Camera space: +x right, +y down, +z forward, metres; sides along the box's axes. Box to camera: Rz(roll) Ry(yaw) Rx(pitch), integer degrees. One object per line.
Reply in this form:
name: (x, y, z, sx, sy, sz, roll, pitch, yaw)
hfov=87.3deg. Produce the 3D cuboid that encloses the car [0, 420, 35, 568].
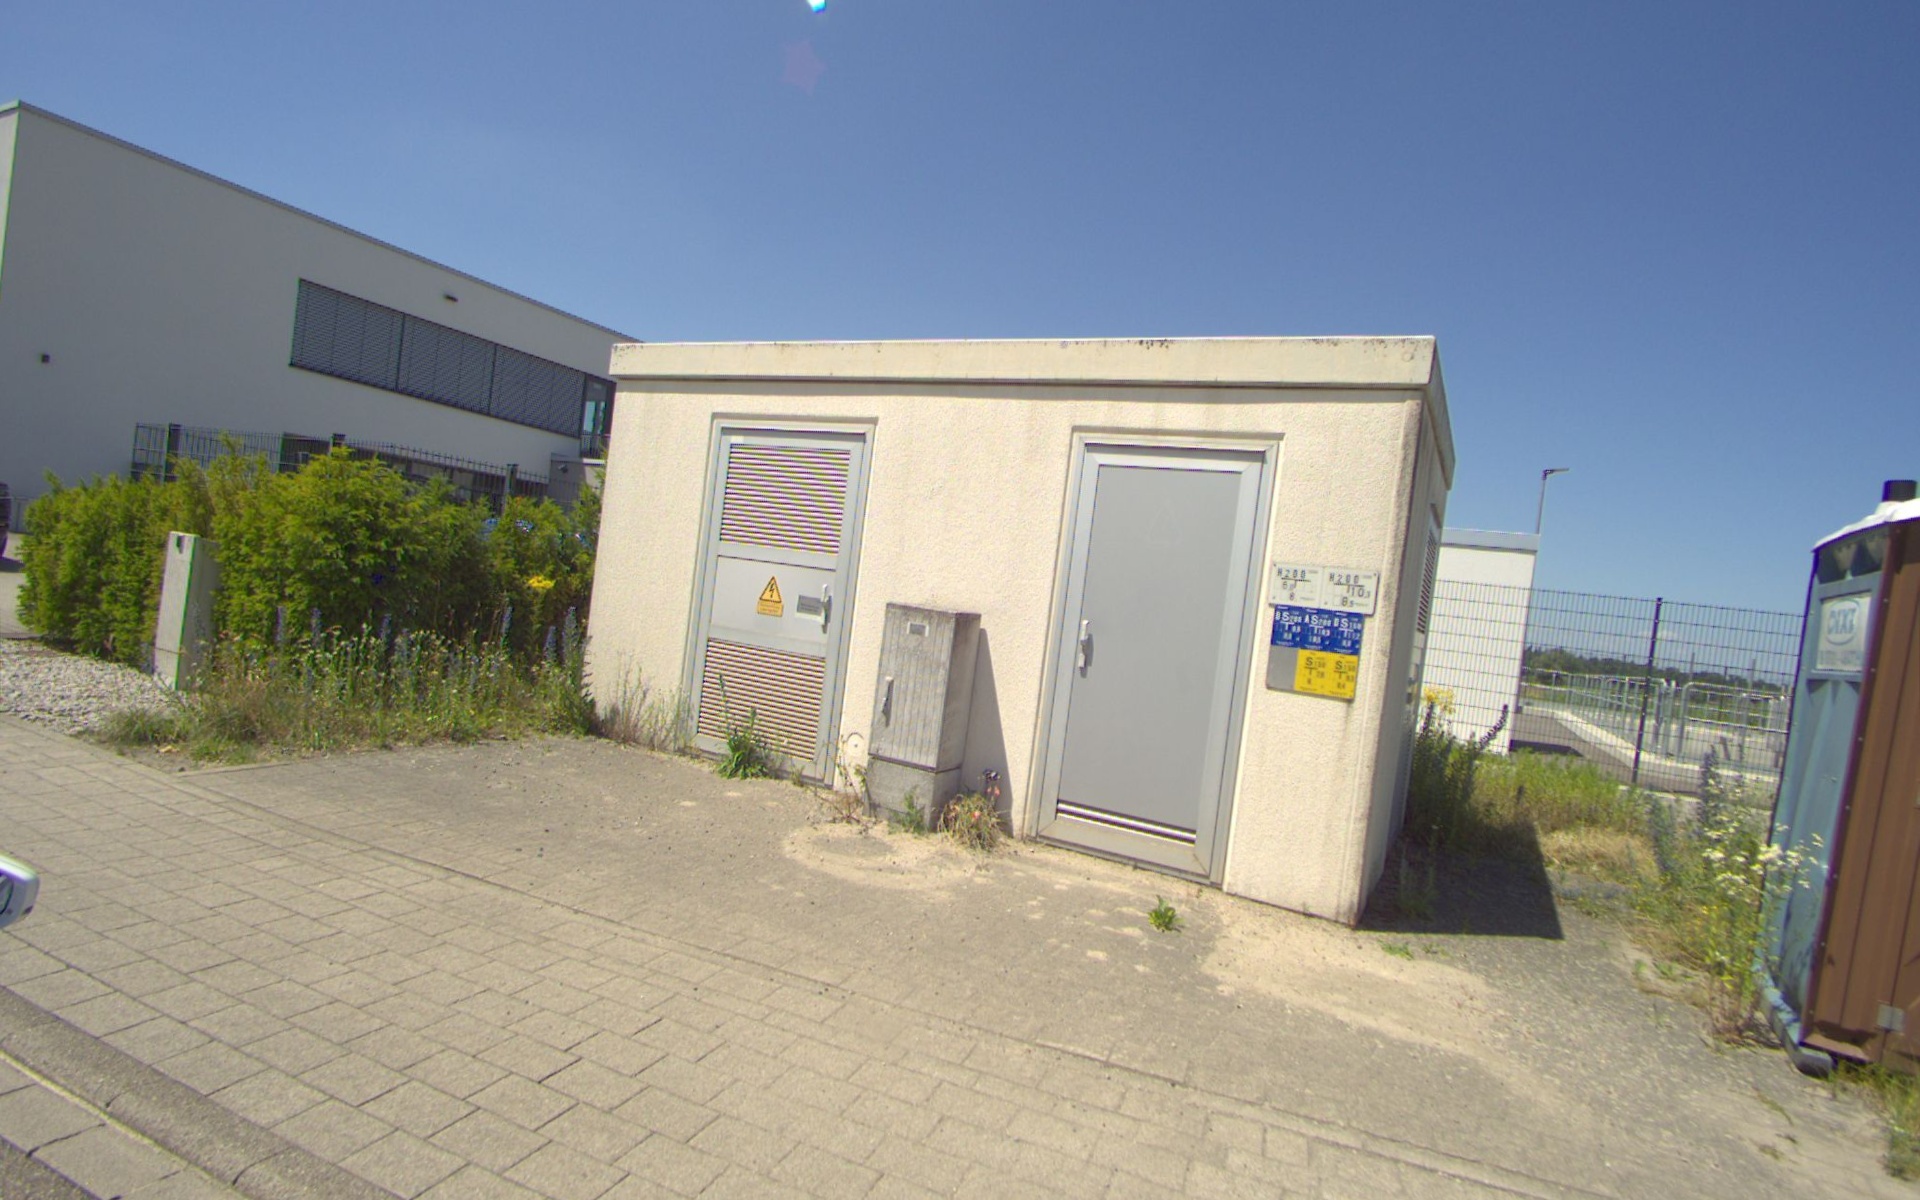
car: (-16.250, -1.950, 14.783, 5.698, 2.040, 1.996, 10, 3, 27)

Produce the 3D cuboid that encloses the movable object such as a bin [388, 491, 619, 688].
movable object such as a bin: (-4.112, -0.089, 9.139, 1.150, 1.543, 1.385, 8, 2, 28)
